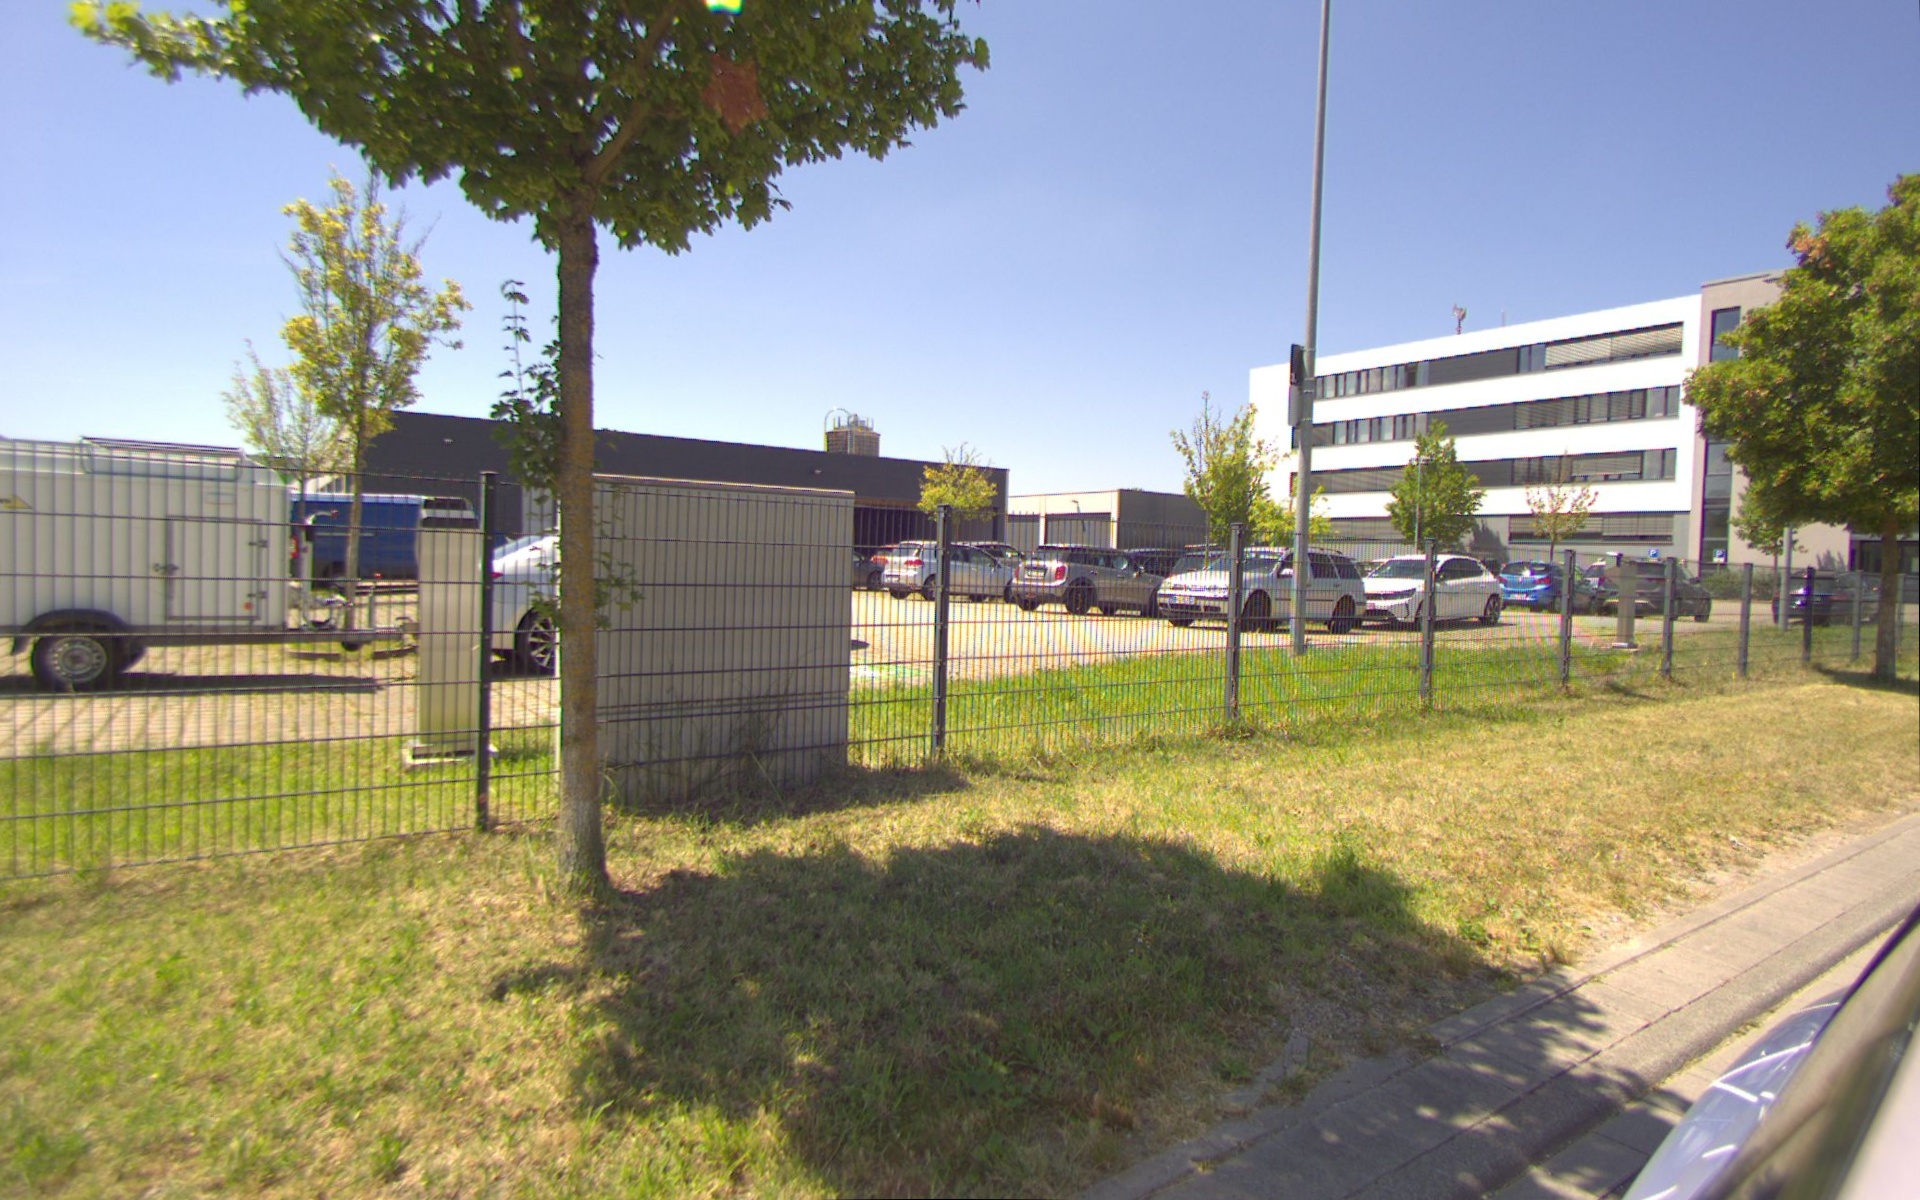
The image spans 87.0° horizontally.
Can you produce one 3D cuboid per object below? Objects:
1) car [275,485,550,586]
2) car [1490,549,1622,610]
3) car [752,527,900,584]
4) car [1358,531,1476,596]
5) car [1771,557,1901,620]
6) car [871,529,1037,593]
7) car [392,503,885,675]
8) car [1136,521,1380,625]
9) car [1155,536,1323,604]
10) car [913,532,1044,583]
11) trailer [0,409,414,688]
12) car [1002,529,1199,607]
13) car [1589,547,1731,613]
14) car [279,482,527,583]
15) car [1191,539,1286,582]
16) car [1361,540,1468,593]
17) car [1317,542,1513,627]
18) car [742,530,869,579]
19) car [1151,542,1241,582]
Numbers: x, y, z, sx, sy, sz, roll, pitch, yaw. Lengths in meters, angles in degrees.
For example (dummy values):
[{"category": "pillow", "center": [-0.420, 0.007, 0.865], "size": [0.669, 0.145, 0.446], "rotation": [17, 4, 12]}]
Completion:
[{"category": "car", "center": [-13.393, -1.562, 24.998], "size": [5.726, 2.251, 2.144], "rotation": [-2, 4, -37]}, {"category": "car", "center": [16.984, -0.541, 28.791], "size": [3.850, 1.473, 1.832], "rotation": [3, -2, -35]}, {"category": "car", "center": [-4.189, -1.386, 31.825], "size": [4.171, 1.651, 1.969], "rotation": [0, 2, -34]}, {"category": "car", "center": [15.456, -1.169, 34.156], "size": [3.848, 1.895, 1.833], "rotation": [3, -2, -33]}, {"category": "car", "center": [23.911, -0.287, 27.590], "size": [3.850, 1.473, 1.832], "rotation": [3, -2, -35]}, {"category": "car", "center": [-0.127, -0.968, 25.775], "size": [3.849, 1.517, 1.856], "rotation": [0, 2, -34]}, {"category": "car", "center": [-3.346, -0.254, 11.034], "size": [4.765, 1.517, 1.855], "rotation": [-4, 4, -35]}, {"category": "car", "center": [5.205, -0.414, 17.434], "size": [4.209, 1.517, 1.855], "rotation": [2, 0, -37]}, {"category": "car", "center": [6.822, -0.714, 24.682], "size": [3.849, 1.517, 1.856], "rotation": [0, 3, -34]}, {"category": "car", "center": [0.609, -1.383, 32.252], "size": [3.850, 1.517, 1.856], "rotation": [-2, 4, -34]}, {"category": "trailer", "center": [-6.835, -0.390, 8.577], "size": [3.667, 2.024, 1.856], "rotation": [2, 1, -35]}, {"category": "car", "center": [3.007, -0.671, 21.470], "size": [3.849, 1.517, 1.856], "rotation": [0, 2, -34]}, {"category": "car", "center": [18.605, -0.536, 26.847], "size": [3.851, 1.593, 1.833], "rotation": [0, 3, -35]}, {"category": "car", "center": [-15.054, -1.857, 27.543], "size": [5.576, 2.486, 2.196], "rotation": [-4, 4, -37]}, {"category": "car", "center": [12.081, -1.689, 43.843], "size": [3.848, 1.557, 1.833], "rotation": [3, -2, -33]}, {"category": "car", "center": [17.024, -1.215, 37.894], "size": [3.848, 1.666, 1.833], "rotation": [3, -2, -33]}, {"category": "car", "center": [9.233, -0.393, 20.467], "size": [3.851, 1.517, 1.856], "rotation": [-3, 4, -34]}, {"category": "car", "center": [-5.233, -1.536, 34.446], "size": [3.849, 1.517, 1.856], "rotation": [0, 2, -34]}, {"category": "car", "center": [10.824, -1.709, 46.370], "size": [3.848, 1.557, 1.833], "rotation": [3, -2, -33]}]
